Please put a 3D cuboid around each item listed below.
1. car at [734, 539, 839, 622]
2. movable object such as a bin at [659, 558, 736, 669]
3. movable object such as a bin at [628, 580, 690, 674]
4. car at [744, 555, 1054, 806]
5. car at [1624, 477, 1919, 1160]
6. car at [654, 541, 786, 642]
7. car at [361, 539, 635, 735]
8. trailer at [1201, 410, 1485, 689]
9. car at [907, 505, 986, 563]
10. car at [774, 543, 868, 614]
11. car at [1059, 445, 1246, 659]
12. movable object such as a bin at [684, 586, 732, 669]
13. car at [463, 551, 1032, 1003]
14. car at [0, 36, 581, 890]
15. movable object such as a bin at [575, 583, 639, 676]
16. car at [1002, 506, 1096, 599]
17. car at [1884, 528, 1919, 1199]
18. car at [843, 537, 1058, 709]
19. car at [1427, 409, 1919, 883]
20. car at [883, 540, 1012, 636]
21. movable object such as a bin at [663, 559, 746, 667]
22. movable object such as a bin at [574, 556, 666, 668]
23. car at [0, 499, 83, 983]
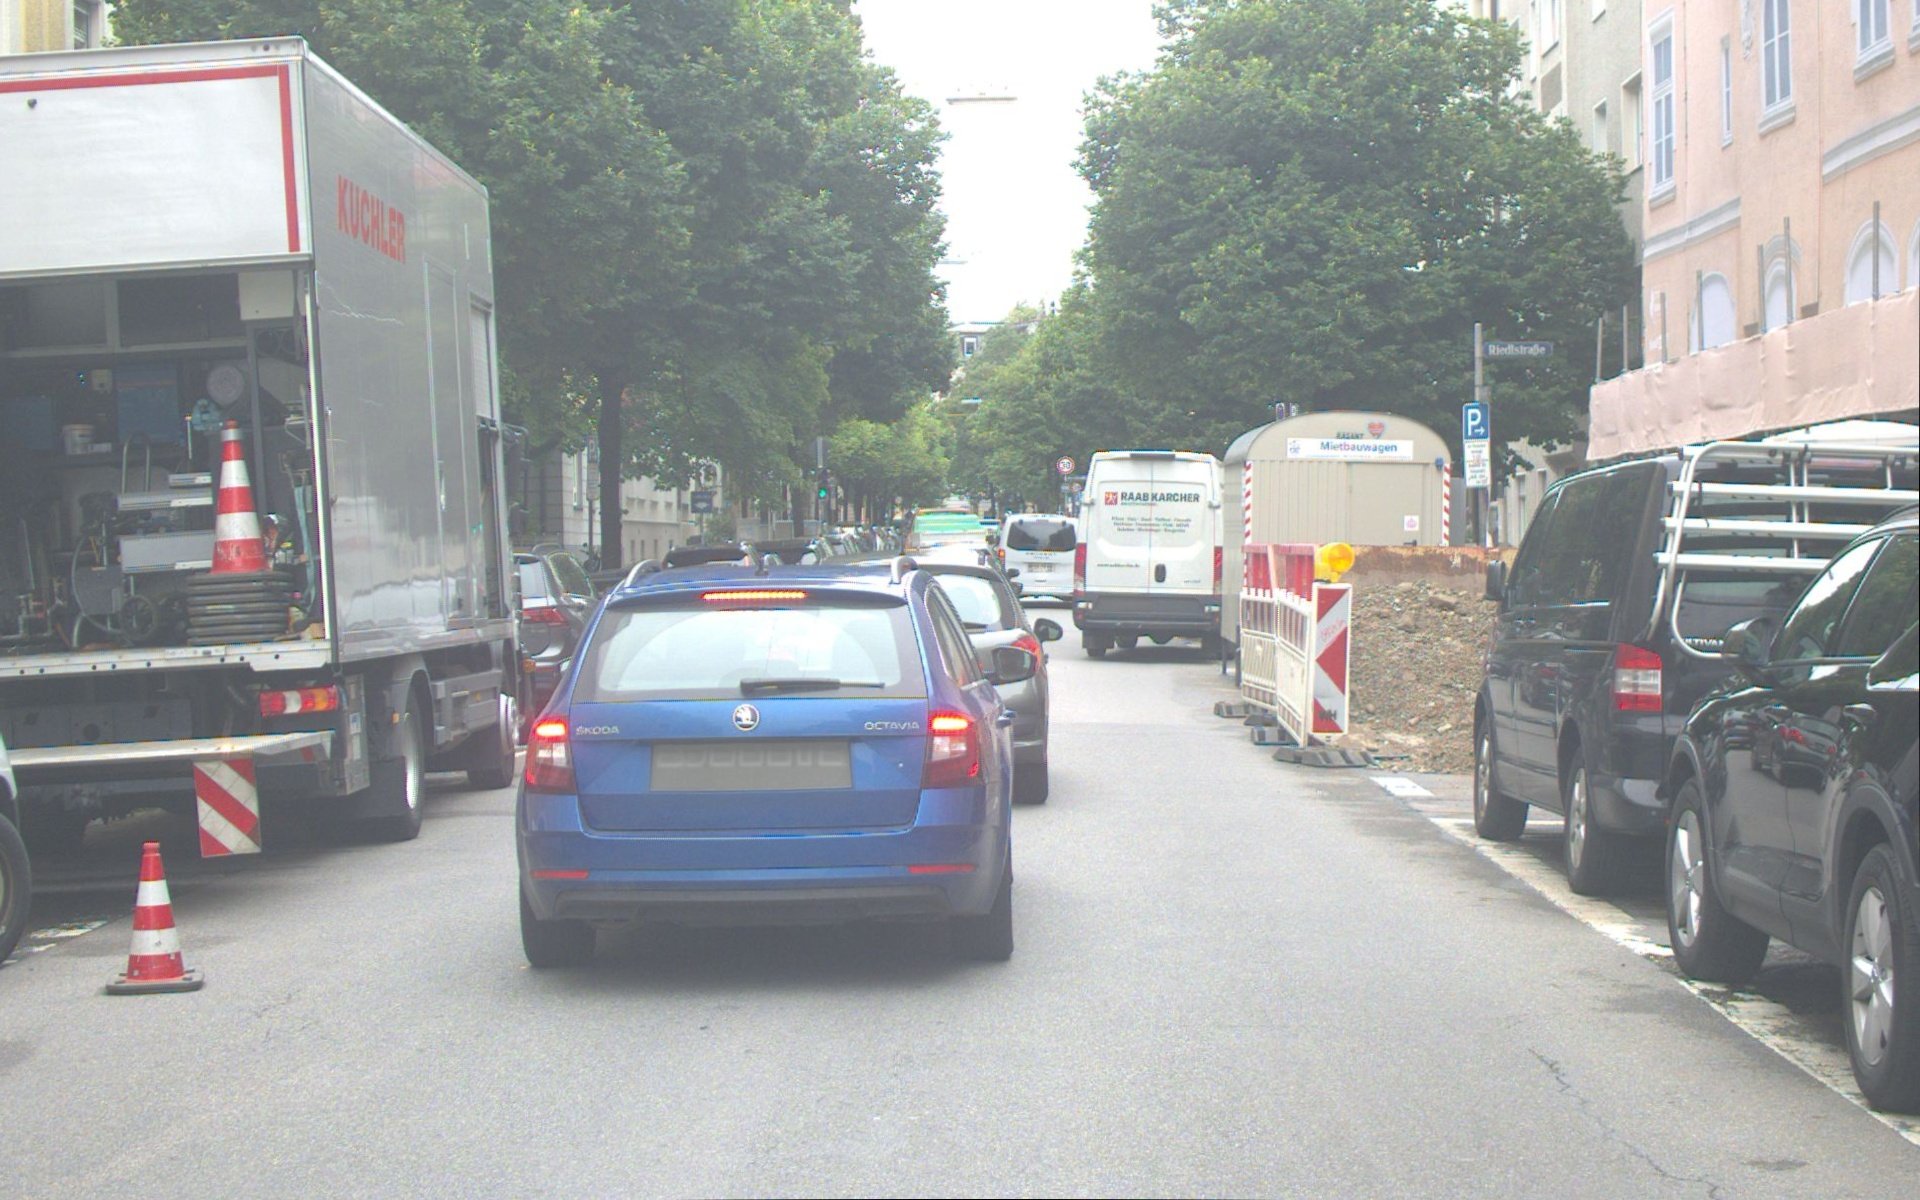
[{"bbox_3d":[-3.165,-0.380,63.320,1.812,1.473,4.000,0,1,-1],"label":"car"},{"bbox_3d":[-3.411,0.169,44.775,0.918,1.372,1.080,-3,1,-3],"label":"movable object such as a bin"},{"bbox_3d":[-3.834,0.338,43.870,0.711,1.144,0.636,-3,1,-2],"label":"movable object such as a bin"},{"bbox_3d":[-0.292,0.431,21.209,1.741,1.417,3.664,0,1,2],"label":"car"},{"bbox_3d":[3.273,0.547,10.552,1.694,1.671,4.407,2,1,2],"label":"car"},{"bbox_3d":[-3.638,-0.162,52.597,1.812,1.473,4.000,0,1,-1],"label":"car"},{"bbox_3d":[-4.145,0.277,31.474,1.785,1.622,4.185,-1,1,2],"label":"car"},{"bbox_3d":[4.173,-0.553,38.719,2.502,2.830,6.901,1,1,1],"label":"trailer"},{"bbox_3d":[-0.422,-1.970,101.669,2.007,1.647,4.348,1,1,-4],"label":"car"},{"bbox_3d":[-3.021,-0.491,75.362,1.812,1.473,4.000,0,1,1],"label":"car"},{"bbox_3d":[2.639,-0.632,45.845,2.113,2.654,5.498,1,1,7],"label":"car"},{"bbox_3d":[-3.214,0.352,43.920,0.546,1.017,0.636,-3,1,-2],"label":"movable object such as a bin"},{"bbox_3d":[-0.654,0.552,13.416,1.789,1.455,4.314,-1,1,2],"label":"car"},{"bbox_3d":[-4.145,-0.661,19.789,2.812,3.804,8.723,-1,1,1],"label":"car"},{"bbox_3d":[-4.502,0.368,43.828,0.721,1.134,0.658,-3,1,-2],"label":"movable object such as a bin"},{"bbox_3d":[1.843,-1.011,71.426,1.867,1.863,4.347,1,1,1],"label":"car"},{"bbox_3d":[3.115,0.659,5.174,1.931,1.547,5.637,0,1,0],"label":"car"},{"bbox_3d":[-0.084,0.163,32.217,1.867,1.449,4.347,1,1,0],"label":"car"},{"bbox_3d":[3.568,0.254,16.567,2.082,1.914,5.140,1,-1,2],"label":"car"},{"bbox_3d":[-0.153,-0.210,52.410,1.867,1.343,4.347,1,1,1],"label":"car"},{"bbox_3d":[-3.406,0.164,45.873,1.020,1.372,1.104,-3,1,-3],"label":"movable object such as a bin"},{"bbox_3d":[-4.408,0.147,44.710,1.081,1.372,1.084,-3,1,-3],"label":"movable object such as a bin"},{"bbox_3d":[-4.461,0.566,11.464,1.763,1.773,4.326,-2,1,2],"label":"car"}]
